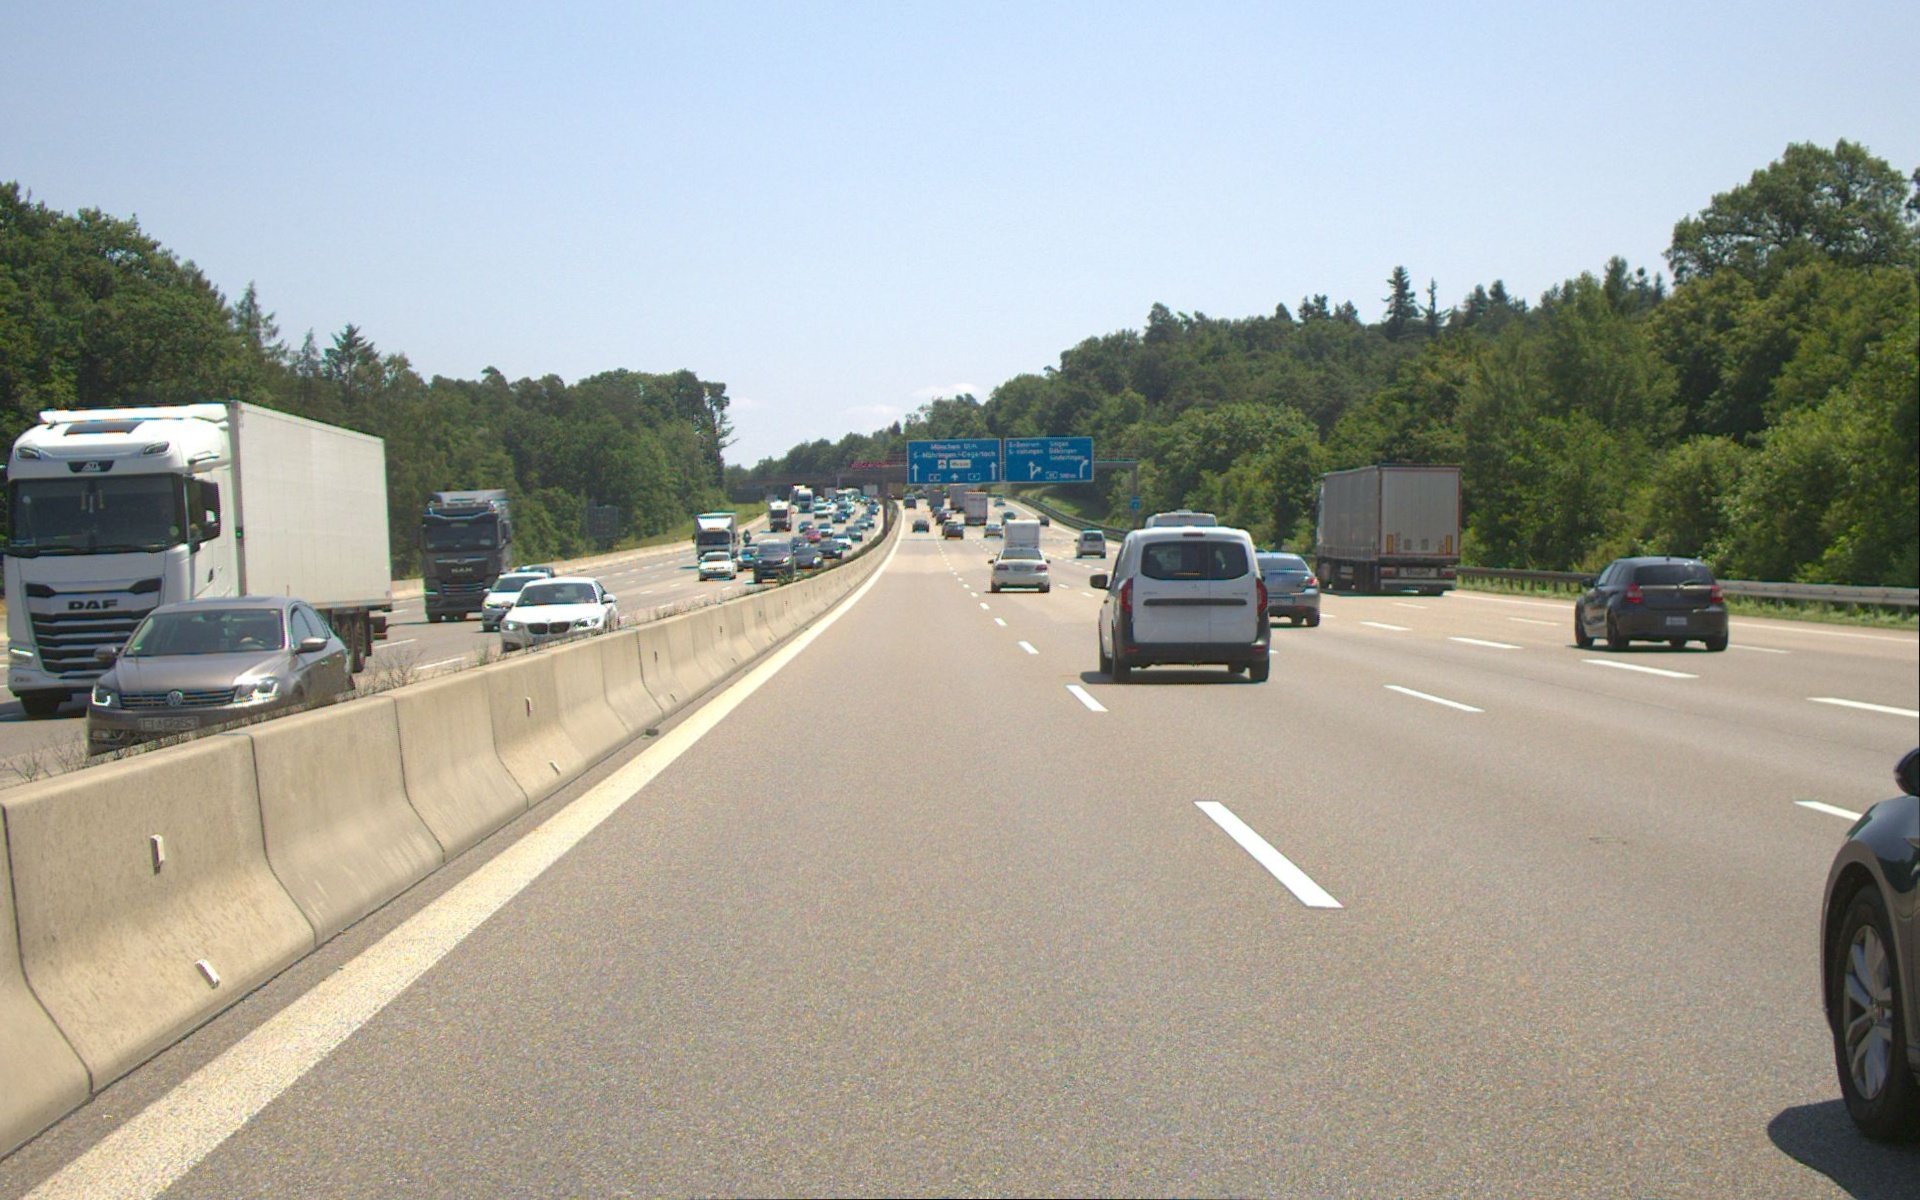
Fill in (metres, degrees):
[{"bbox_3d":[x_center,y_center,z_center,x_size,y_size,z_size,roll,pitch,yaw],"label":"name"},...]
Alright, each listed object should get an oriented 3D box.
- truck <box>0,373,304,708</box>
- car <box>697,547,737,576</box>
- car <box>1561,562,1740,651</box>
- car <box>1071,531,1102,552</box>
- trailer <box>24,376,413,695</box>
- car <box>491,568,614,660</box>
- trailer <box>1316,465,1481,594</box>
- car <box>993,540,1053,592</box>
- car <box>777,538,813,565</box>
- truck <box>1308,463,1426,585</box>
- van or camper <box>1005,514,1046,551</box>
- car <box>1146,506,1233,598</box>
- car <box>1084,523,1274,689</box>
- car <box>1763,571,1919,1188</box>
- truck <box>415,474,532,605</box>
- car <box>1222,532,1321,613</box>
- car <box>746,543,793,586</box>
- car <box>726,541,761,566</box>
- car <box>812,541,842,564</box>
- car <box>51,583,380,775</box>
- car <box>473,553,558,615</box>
[{"bbox_3d":[-11.097,-0.787,46.659,3.047,4.122,6.949,-2,1,-1],"label":"truck"},{"bbox_3d":[-12.627,-1.997,178.651,1.760,1.459,4.840,-1,1,-1],"label":"car"},{"bbox_3d":[10.462,0.074,52.391,1.670,1.269,4.290,0,1,-3],"label":"car"},{"bbox_3d":[8.271,-3.820,224.907,1.835,1.333,3.643,-2,1,-1],"label":"car"},{"bbox_3d":[-11.171,-0.994,53.695,3.023,4.210,14.468,-2,1,-1],"label":"trailer"},{"bbox_3d":[-6.940,0.211,58.859,1.747,1.452,4.157,-1,1,-2],"label":"car"},{"bbox_3d":[14.119,-2.369,112.005,3.287,3.917,13.892,1,2,-1],"label":"trailer"},{"bbox_3d":[2.030,-1.119,112.200,1.843,1.623,4.553,-2,1,0],"label":"car"},{"bbox_3d":[-9.442,-2.777,197.081,1.913,1.459,4.588,-1,0,-1],"label":"car"},{"bbox_3d":[13.987,-2.649,118.536,3.254,4.092,5.988,0,2,-1],"label":"truck"},{"bbox_3d":[4.572,-4.749,241.396,2.645,2.530,6.502,-1,1,-1],"label":"van or camper"},{"bbox_3d":[6.779,-1.463,102.047,2.143,2.643,5.710,0,2,-1],"label":"car"},{"bbox_3d":[2.558,0.030,41.145,1.859,1.819,4.612,-2,1,-1],"label":"car"},{"bbox_3d":[3.137,0.689,7.246,1.729,1.442,4.961,0,1,0],"label":"car"},{"bbox_3d":[-15.005,-1.872,106.403,2.577,3.828,7.018,-2,1,-1],"label":"truck"},{"bbox_3d":[6.109,-0.534,67.738,1.503,1.495,3.650,-2,0,-1],"label":"car"},{"bbox_3d":[-8.984,-1.682,162.391,1.898,1.947,5.657,-2,1,-1],"label":"car"},{"bbox_3d":[-13.158,-2.822,209.015,1.913,1.459,4.588,-1,0,-1],"label":"car"},{"bbox_3d":[-9.061,-3.239,235.195,1.913,1.459,4.364,-1,0,-1],"label":"car"},{"bbox_3d":[-6.590,0.638,31.016,1.993,1.482,5.136,-2,1,-2],"label":"car"},{"bbox_3d":[-11.298,-0.431,87.558,1.722,1.501,4.462,-1,1,-2],"label":"car"}]
